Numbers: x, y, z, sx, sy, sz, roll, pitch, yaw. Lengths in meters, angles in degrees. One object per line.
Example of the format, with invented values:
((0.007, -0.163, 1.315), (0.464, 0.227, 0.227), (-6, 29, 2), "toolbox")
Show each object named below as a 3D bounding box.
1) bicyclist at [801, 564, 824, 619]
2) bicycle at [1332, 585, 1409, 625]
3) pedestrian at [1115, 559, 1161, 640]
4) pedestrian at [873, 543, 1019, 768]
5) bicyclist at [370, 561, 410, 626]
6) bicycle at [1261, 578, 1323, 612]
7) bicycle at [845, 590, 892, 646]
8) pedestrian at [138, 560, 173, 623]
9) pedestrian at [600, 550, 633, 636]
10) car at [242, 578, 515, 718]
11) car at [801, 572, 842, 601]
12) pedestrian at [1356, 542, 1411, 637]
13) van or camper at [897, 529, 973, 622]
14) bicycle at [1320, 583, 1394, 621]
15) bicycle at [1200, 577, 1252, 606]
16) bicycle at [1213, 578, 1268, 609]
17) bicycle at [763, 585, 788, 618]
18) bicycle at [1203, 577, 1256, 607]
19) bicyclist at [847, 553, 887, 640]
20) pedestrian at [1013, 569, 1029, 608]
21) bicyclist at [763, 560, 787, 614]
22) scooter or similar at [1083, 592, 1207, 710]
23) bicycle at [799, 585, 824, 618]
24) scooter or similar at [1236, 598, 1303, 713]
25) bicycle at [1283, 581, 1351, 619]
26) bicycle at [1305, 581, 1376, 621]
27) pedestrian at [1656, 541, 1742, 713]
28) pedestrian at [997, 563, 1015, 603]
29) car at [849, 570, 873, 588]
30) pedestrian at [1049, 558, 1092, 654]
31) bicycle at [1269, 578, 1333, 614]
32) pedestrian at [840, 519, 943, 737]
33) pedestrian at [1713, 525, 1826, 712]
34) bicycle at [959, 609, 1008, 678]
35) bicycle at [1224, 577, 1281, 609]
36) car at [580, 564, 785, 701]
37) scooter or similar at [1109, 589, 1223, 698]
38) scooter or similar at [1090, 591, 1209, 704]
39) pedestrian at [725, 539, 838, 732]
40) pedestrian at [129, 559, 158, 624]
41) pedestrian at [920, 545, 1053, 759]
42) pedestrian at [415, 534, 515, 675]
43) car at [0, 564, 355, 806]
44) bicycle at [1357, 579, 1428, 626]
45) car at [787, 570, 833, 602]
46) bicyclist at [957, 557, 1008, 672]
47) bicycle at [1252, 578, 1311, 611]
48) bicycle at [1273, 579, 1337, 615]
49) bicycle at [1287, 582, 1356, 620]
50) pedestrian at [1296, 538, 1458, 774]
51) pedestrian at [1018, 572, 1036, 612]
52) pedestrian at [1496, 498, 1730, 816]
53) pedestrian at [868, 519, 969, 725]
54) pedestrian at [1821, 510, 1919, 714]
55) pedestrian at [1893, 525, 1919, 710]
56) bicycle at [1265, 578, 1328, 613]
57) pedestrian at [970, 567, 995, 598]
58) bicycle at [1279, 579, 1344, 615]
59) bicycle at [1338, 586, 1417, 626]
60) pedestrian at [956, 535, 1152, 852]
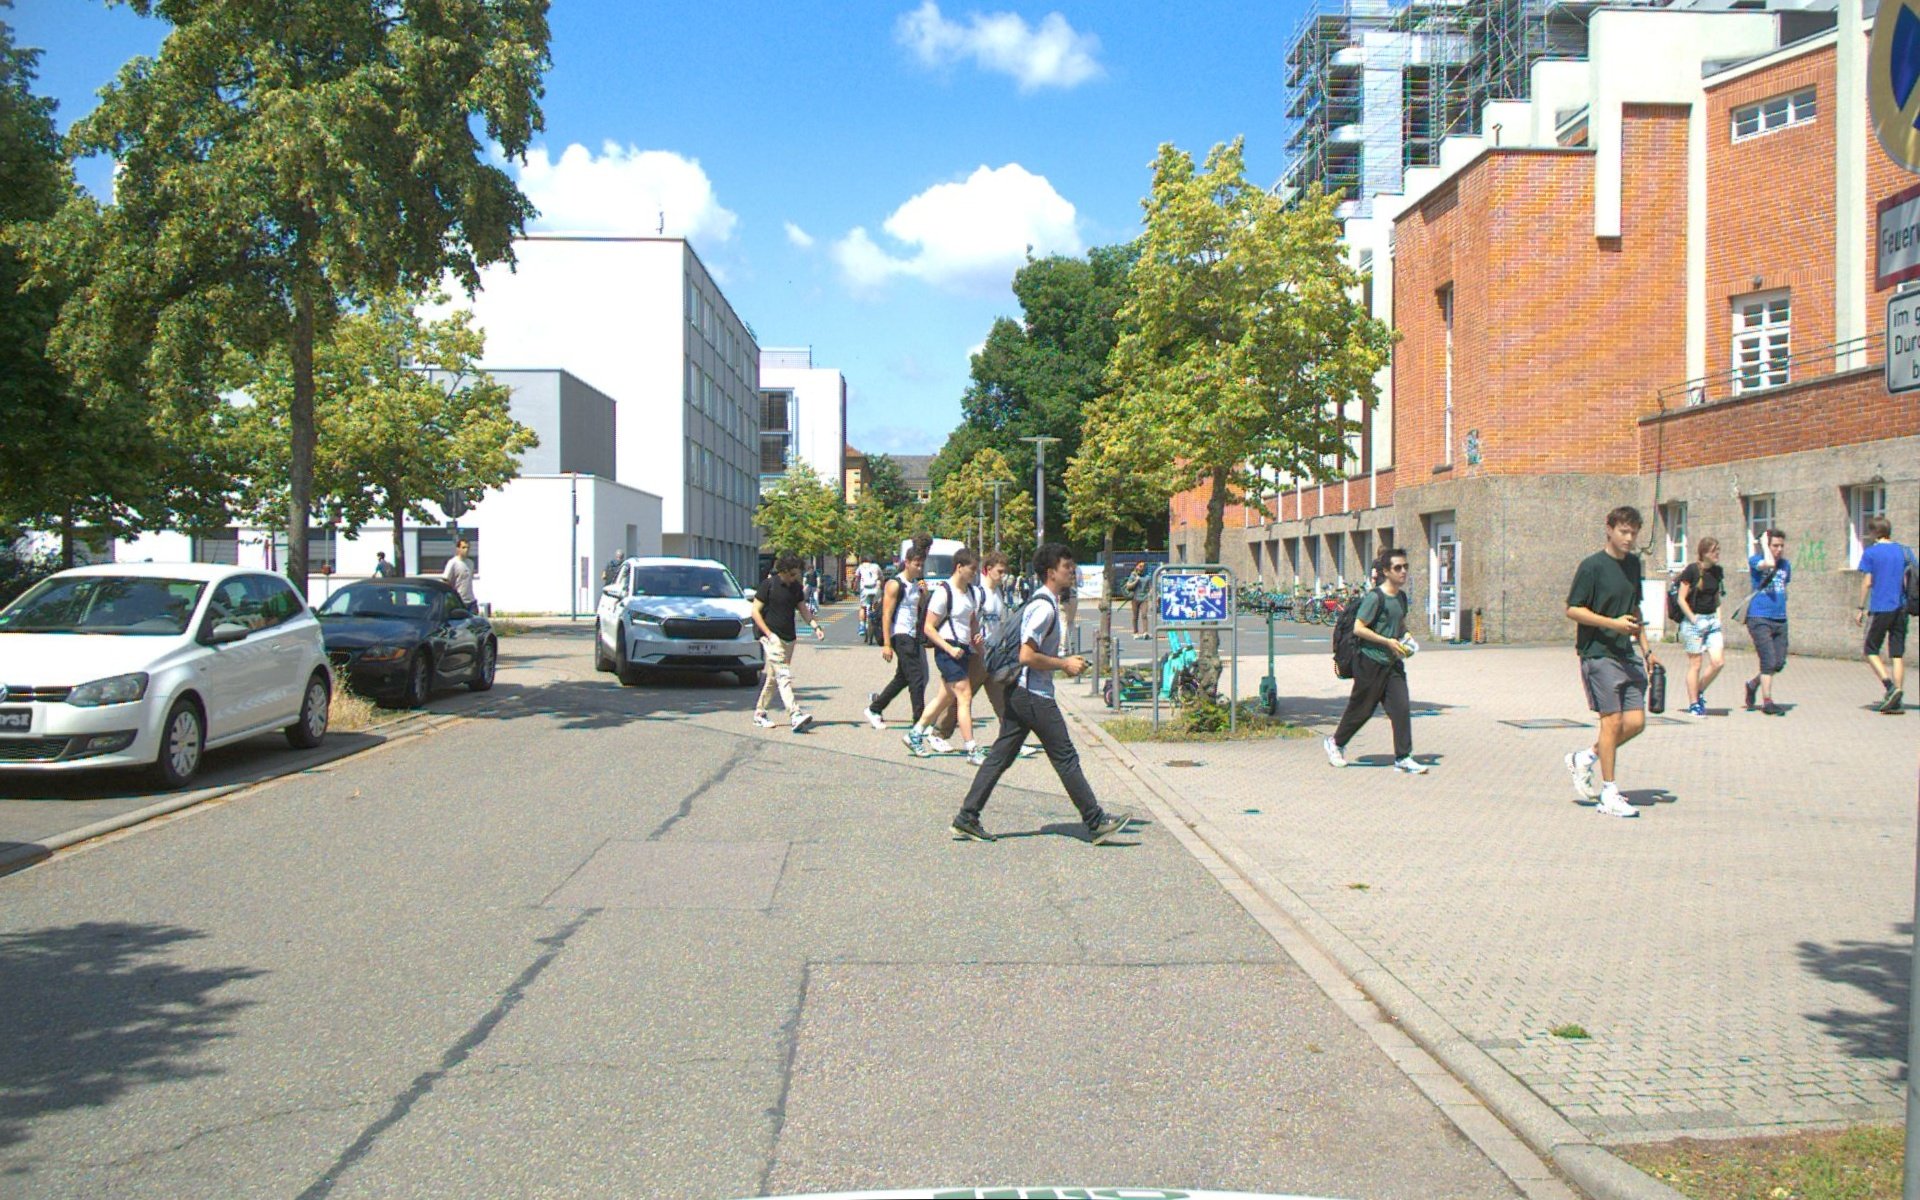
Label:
((-4.622, -0.268, 51.892), (0.654, 1.711, 0.992), (-1, 1, -3), "bicyclist")
((10.286, 0.124, 41.434), (1.773, 0.928, 0.560), (-2, 1, -2), "bicycle")
((3.956, -0.030, 36.909), (0.836, 1.763, 1.160), (-1, 1, -3), "pedestrian")
((-0.112, 0.426, 13.546), (0.964, 1.769, 0.698), (0, 1, 37), "pedestrian")
((-15.804, -0.187, 45.846), (0.679, 1.787, 0.807), (0, 0, 40), "bicyclist")
((10.270, -0.156, 51.179), (1.773, 1.002, 0.560), (-2, 1, -2), "bicycle")
((-1.941, 0.364, 34.793), (0.793, 1.019, 2.121), (-2, 3, -7), "bicycle")
((-22.717, -0.243, 46.708), (0.679, 1.779, 0.636), (0, 0, -1), "pedestrian")
((-7.399, -0.141, 35.615), (0.655, 1.816, 0.981), (0, -1, -14), "pedestrian")
((-6.229, 0.448, 18.173), (1.611, 1.323, 3.927), (-1, 1, -1), "car")
((-7.603, -0.756, 90.954), (1.758, 1.556, 4.002), (-1, 1, 2), "car")
((8.577, -0.223, 33.532), (0.774, 1.892, 1.116), (-1, 1, -3), "pedestrian")
((-0.664, -0.664, 47.233), (1.952, 2.488, 4.570), (-1, 0, 1), "van or camper")
((10.281, 0.053, 42.838), (1.773, 0.927, 0.560), (-2, 1, -2), "bicycle")
((9.732, -0.312, 60.486), (1.773, 1.002, 0.560), (-2, 1, -2), "bicycle")
((9.688, -0.236, 57.184), (1.773, 1.002, 0.560), (-2, 1, -2), "bicycle")
((-5.611, 0.029, 50.281), (0.663, 0.981, 2.002), (0, 1, -4), "bicycle")
((9.689, -0.282, 59.521), (1.773, 1.002, 0.560), (-2, 1, -2), "bicycle")
((-1.953, -0.083, 34.769), (0.756, 1.786, 0.847), (-1, 1, -8), "bicyclist")
((3.029, -0.583, 82.204), (0.774, 1.892, 1.026), (-1, 1, 0), "pedestrian")
((-5.631, -0.395, 50.371), (0.630, 1.629, 0.908), (-1, 1, -3), "bicyclist")
((2.097, 0.559, 18.783), (1.237, 1.287, 0.649), (0, 1, 31), "scooter or similar")
((-4.626, 0.053, 51.687), (0.663, 0.982, 2.001), (1, -2, -3), "bicycle")
((3.389, 0.590, 18.044), (0.635, 1.180, 1.266), (-1, 1, 14), "scooter or similar")
((10.046, -0.009, 46.554), (1.773, 1.002, 0.560), (-2, 1, -2), "bicycle")
((10.253, 0.030, 44.601), (1.773, 1.002, 0.560), (-2, 1, -2), "bicycle")
((7.313, 0.266, 16.380), (0.493, 1.659, 0.569), (-1, -1, -14), "pedestrian")
((2.208, -0.842, 79.398), (0.774, 1.892, 1.243), (-1, 1, 0), "pedestrian")
((-8.975, -1.885, 149.743), (1.758, 1.556, 4.002), (-1, 1, 2), "car")
((2.029, 0.094, 30.429), (0.688, 1.724, 0.962), (-1, 1, -1), "pedestrian")
((10.296, -0.119, 49.943), (1.773, 1.002, 0.560), (-2, 1, -2), "bicycle")
((-0.660, 0.260, 15.760), (0.610, 2.015, 0.819), (-1, -1, -33), "pedestrian")
((8.104, 0.171, 16.576), (0.696, 1.819, 0.750), (-1, 1, -15), "pedestrian")
((0.373, 0.640, 25.227), (0.692, 1.010, 1.911), (0, 0, 2), "bicycle")
((9.836, -0.227, 55.654), (1.773, 1.002, 0.560), (-2, 1, -2), "bicycle")
((-3.905, 0.386, 22.626), (1.890, 1.647, 4.493), (2, 0, -21), "car")
((2.540, 0.522, 20.383), (1.237, 1.287, 0.638), (0, 1, 31), "scooter or similar")
((2.245, 0.542, 19.561), (1.237, 1.287, 0.649), (0, 1, 31), "scooter or similar")
((-1.718, 0.317, 15.972), (0.784, 1.803, 0.855), (0, 2, 20), "pedestrian")
((-22.680, -0.235, 45.948), (0.540, 1.795, 0.586), (0, 0, -1), "pedestrian")
((0.228, 0.427, 14.162), (0.891, 1.769, 0.676), (1, -1, 37), "pedestrian")
((-7.006, 0.063, 23.407), (1.007, 1.936, 1.163), (1, 0, -38), "pedestrian")
((-5.802, 0.476, 11.839), (1.628, 1.436, 3.806), (1, 1, -2), "car")
((10.098, 0.049, 38.636), (1.504, 1.051, 0.560), (-1, 1, -2), "bicycle")
((-7.553, -0.717, 83.540), (1.758, 1.556, 4.002), (-1, 1, 2), "car")
((0.352, 0.214, 25.190), (0.702, 1.691, 1.095), (-2, 0, 2), "bicyclist")
((10.331, -0.183, 53.133), (1.773, 1.002, 0.560), (-2, 1, -2), "bicycle")
((10.298, -0.103, 49.356), (1.773, 1.002, 0.560), (-2, 1, -2), "bicycle")
((10.037, 0.021, 45.920), (1.773, 1.002, 0.560), (-2, 1, -2), "bicycle")
((3.257, 0.412, 12.927), (0.976, 1.749, 0.699), (-1, 2, 43), "pedestrian")
((3.183, -0.399, 78.959), (0.774, 1.892, 1.026), (-1, 1, 0), "pedestrian")
((4.138, 0.328, 10.527), (0.843, 1.892, 1.104), (-1, 1, -31), "pedestrian")
((-0.412, 0.204, 16.594), (0.809, 2.014, 0.692), (0, 2, 20), "pedestrian")
((9.103, 0.097, 16.299), (0.687, 1.924, 0.994), (-2, 2, 1), "pedestrian")
((9.873, 0.167, 16.376), (0.687, 1.834, 0.994), (-2, 1, 2), "pedestrian")
((10.293, -0.137, 50.585), (1.773, 1.002, 0.560), (-2, 1, -2), "bicycle")
((1.533, -1.220, 113.057), (1.470, 2.030, 1.645), (-3, 2, -3), "pedestrian")
((10.349, -0.091, 48.755), (1.773, 1.002, 0.560), (-2, 1, -2), "bicycle")
((10.235, 0.148, 40.576), (1.773, 0.928, 0.560), (-2, 1, -2), "bicycle")
((0.544, 0.516, 9.532), (1.082, 1.746, 0.710), (0, 0, 4), "pedestrian")
